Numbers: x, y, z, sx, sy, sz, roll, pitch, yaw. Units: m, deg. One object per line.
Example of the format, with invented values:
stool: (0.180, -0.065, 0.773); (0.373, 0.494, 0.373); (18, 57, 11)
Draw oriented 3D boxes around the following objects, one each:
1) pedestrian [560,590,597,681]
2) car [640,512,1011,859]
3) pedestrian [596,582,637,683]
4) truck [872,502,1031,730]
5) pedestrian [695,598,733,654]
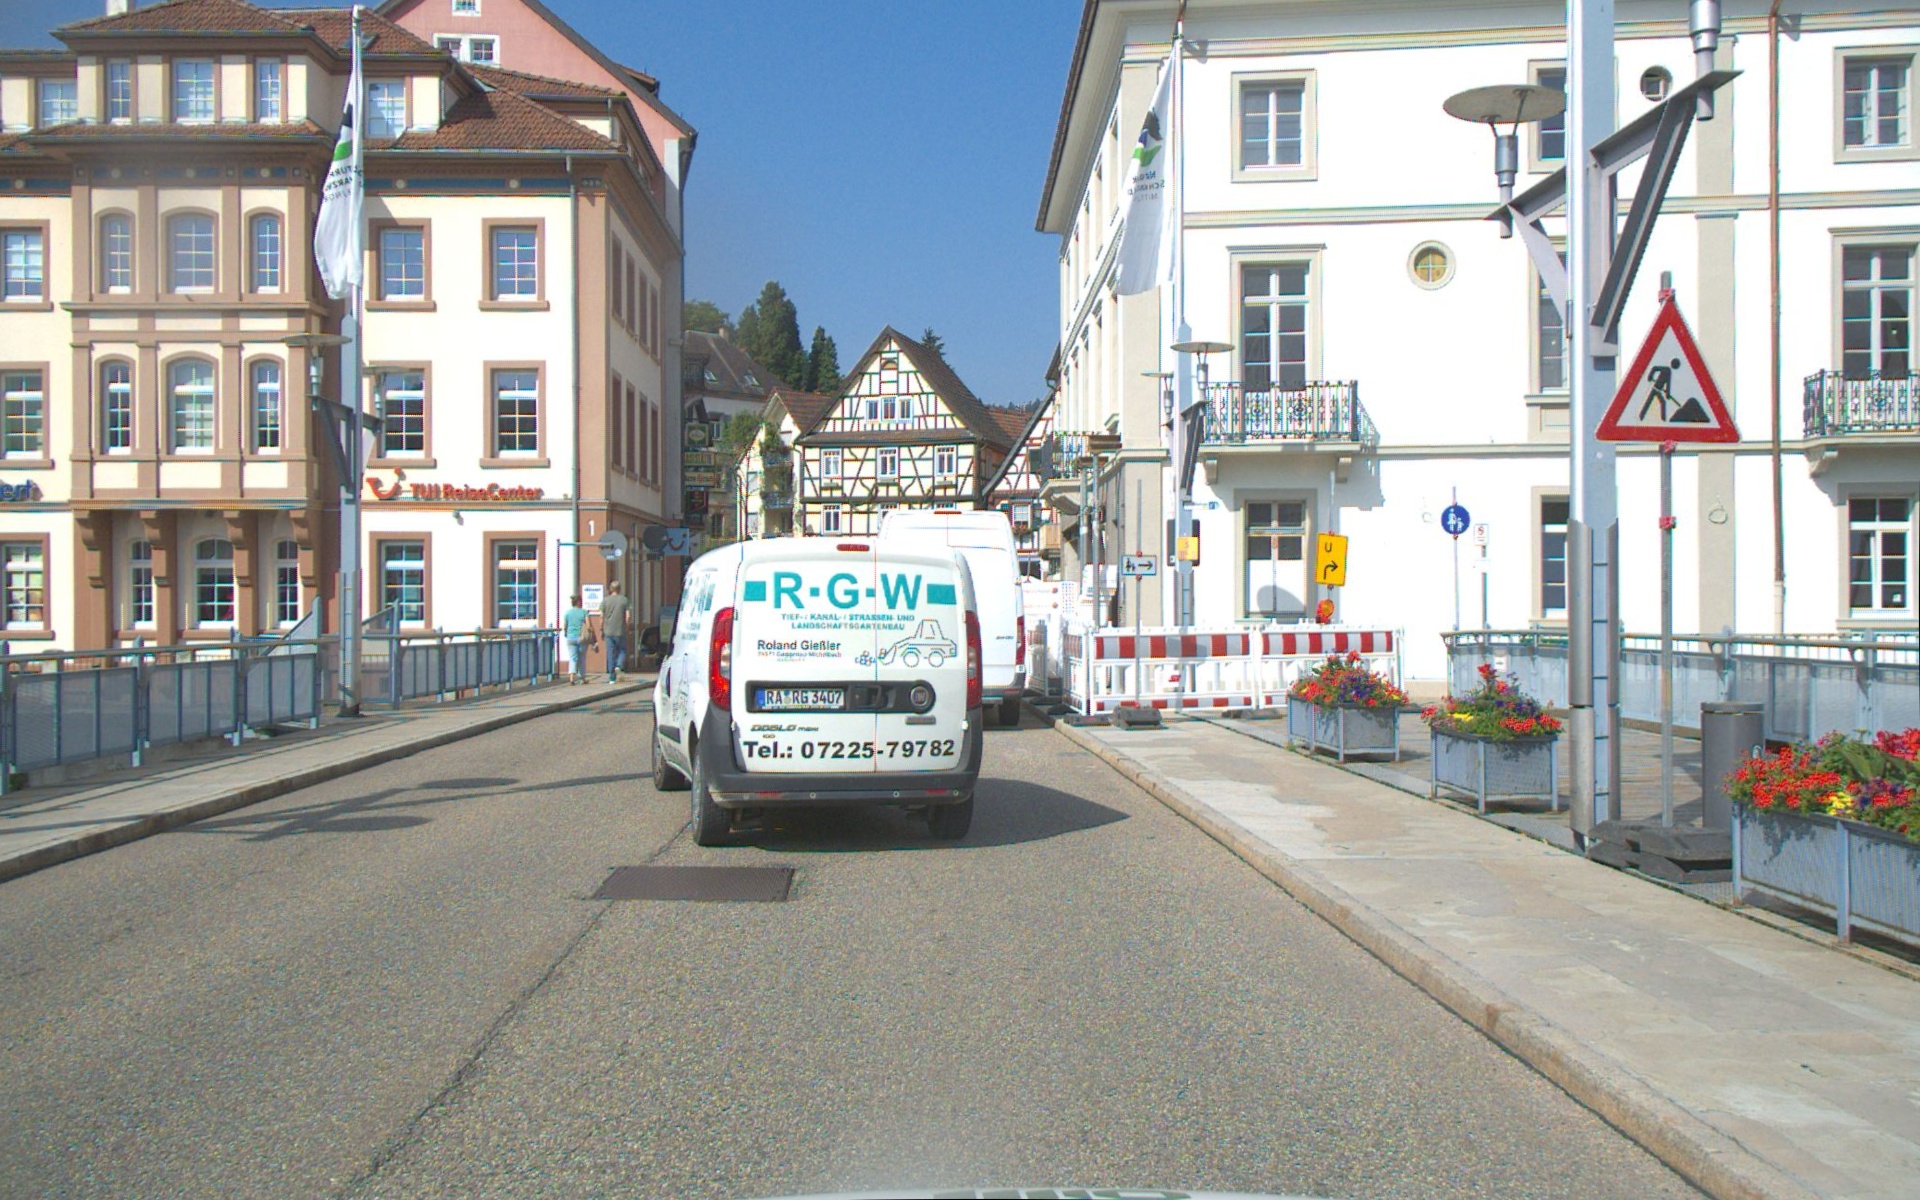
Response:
pedestrian: (-6.967, 0.648, 30.223); (0.572, 1.638, 0.537); (1, 0, -4)
car: (-1.144, 0.478, 11.578); (1.814, 1.939, 4.296); (0, 0, -16)
pedestrian: (-6.230, 0.576, 30.028); (0.602, 1.793, 0.863); (1, 1, -4)
truck: (-0.209, 0.186, 21.307); (1.824, 2.630, 4.257); (0, 0, -3)
pedestrian: (-7.492, 0.782, 50.428); (1.052, 1.676, 0.686); (0, 1, 0)
